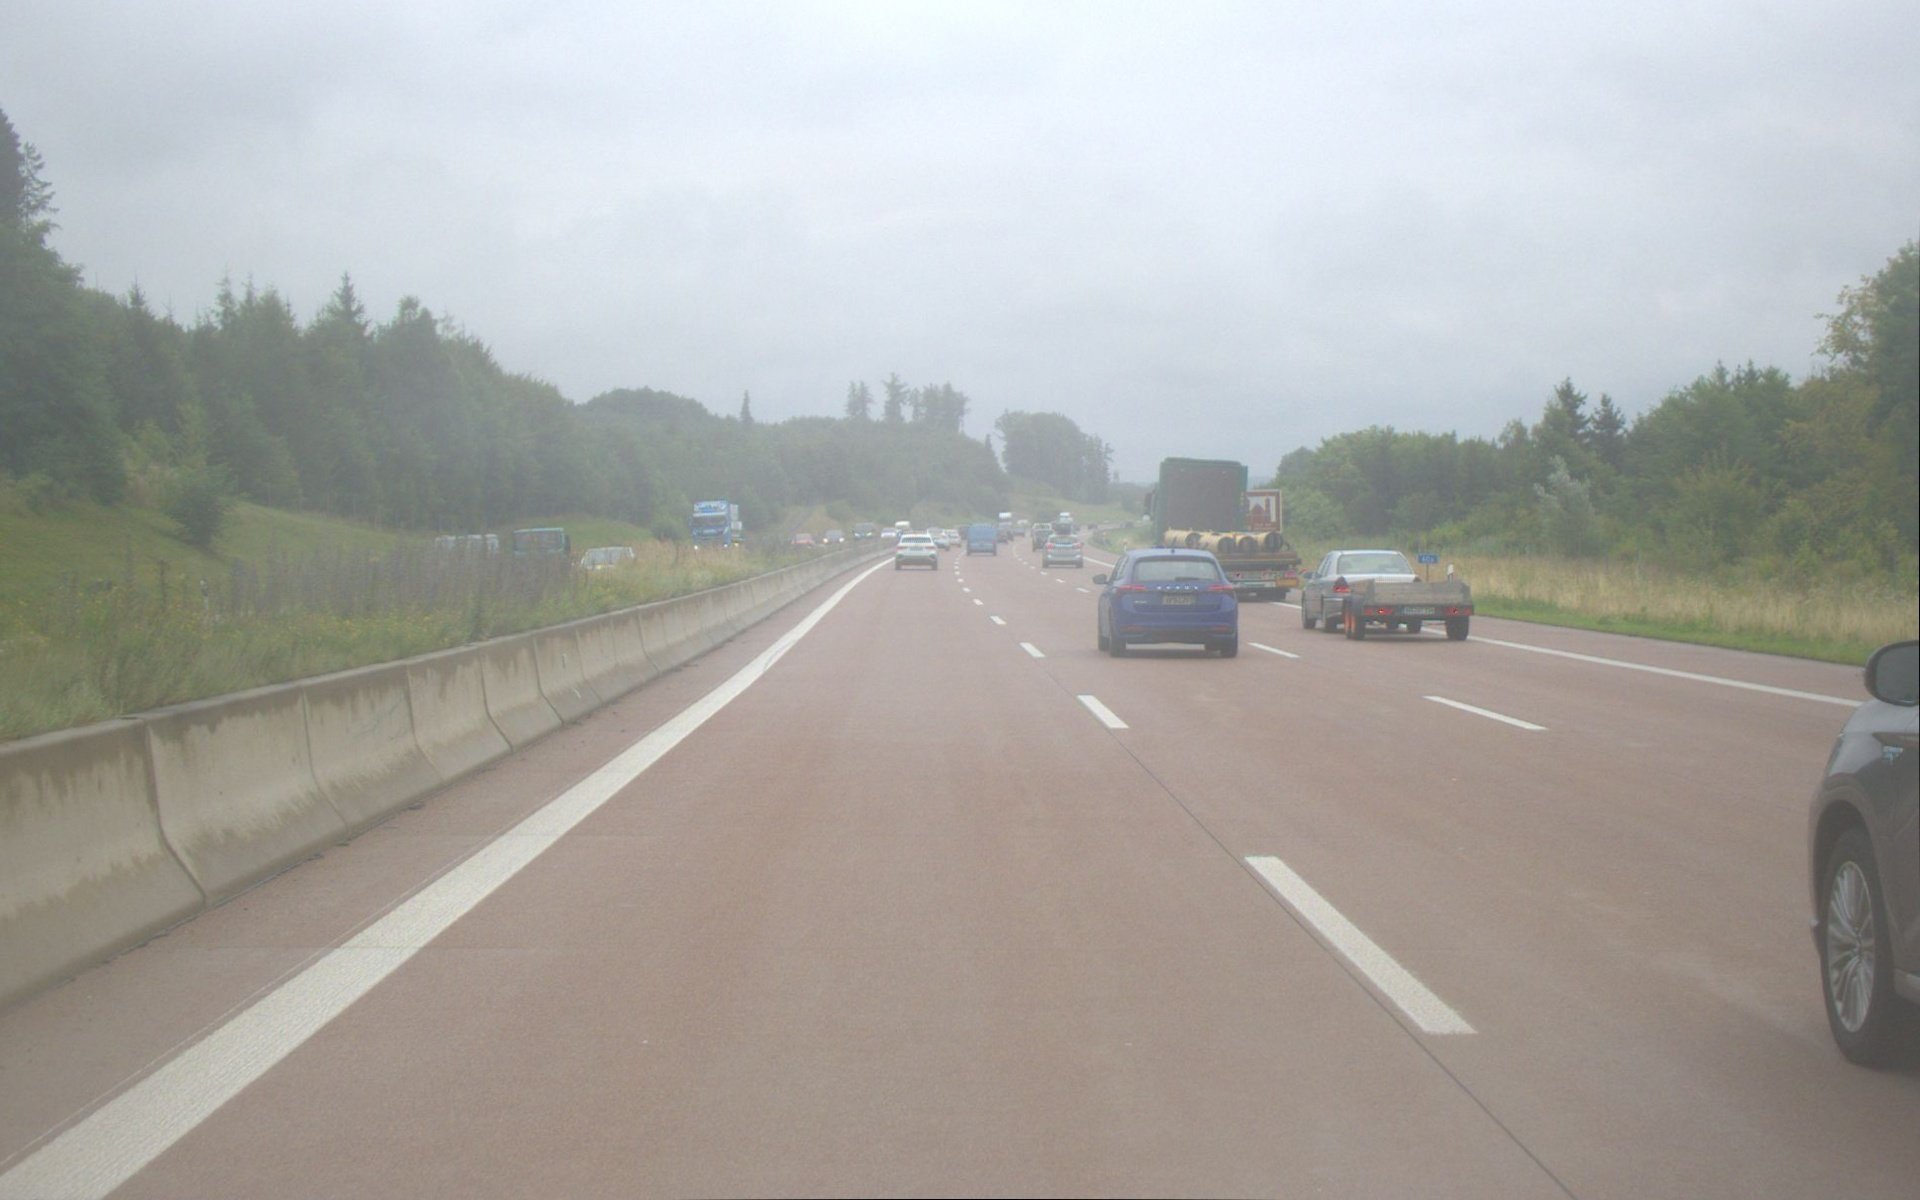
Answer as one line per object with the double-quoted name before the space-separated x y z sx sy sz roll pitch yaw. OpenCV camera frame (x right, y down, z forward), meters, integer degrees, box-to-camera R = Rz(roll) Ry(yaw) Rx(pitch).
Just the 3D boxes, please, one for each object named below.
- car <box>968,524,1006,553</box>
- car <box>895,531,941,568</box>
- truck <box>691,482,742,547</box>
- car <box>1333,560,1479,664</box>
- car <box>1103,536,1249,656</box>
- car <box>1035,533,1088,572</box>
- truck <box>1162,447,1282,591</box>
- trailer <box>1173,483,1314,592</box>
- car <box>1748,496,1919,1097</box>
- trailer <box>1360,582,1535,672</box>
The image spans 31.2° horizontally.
"car" 1.677 -3.822 214.181 2.322 1.744 4.877 1 0 1
"car" -1.816 -2.199 149.084 1.874 1.439 4.877 1 2 1
"truck" -17.256 -6.097 244.014 2.964 4.305 7.650 -4 2 -1
"car" 7.191 0.161 55.804 1.698 1.606 4.977 0 0 0
"car" 2.939 -0.061 47.532 1.771 1.558 4.146 1 0 1
"car" 4.639 -2.178 158.150 2.322 1.744 4.877 1 0 1
"truck" 7.459 -2.257 98.772 2.897 3.951 6.989 1 0 0
"trailer" 7.393 -1.572 91.102 2.881 2.666 11.398 1 0 1
"car" 3.544 0.535 8.062 1.993 1.587 5.820 1 0 0
"trailer" 7.256 0.375 51.599 1.971 1.162 4.639 1 2 0
